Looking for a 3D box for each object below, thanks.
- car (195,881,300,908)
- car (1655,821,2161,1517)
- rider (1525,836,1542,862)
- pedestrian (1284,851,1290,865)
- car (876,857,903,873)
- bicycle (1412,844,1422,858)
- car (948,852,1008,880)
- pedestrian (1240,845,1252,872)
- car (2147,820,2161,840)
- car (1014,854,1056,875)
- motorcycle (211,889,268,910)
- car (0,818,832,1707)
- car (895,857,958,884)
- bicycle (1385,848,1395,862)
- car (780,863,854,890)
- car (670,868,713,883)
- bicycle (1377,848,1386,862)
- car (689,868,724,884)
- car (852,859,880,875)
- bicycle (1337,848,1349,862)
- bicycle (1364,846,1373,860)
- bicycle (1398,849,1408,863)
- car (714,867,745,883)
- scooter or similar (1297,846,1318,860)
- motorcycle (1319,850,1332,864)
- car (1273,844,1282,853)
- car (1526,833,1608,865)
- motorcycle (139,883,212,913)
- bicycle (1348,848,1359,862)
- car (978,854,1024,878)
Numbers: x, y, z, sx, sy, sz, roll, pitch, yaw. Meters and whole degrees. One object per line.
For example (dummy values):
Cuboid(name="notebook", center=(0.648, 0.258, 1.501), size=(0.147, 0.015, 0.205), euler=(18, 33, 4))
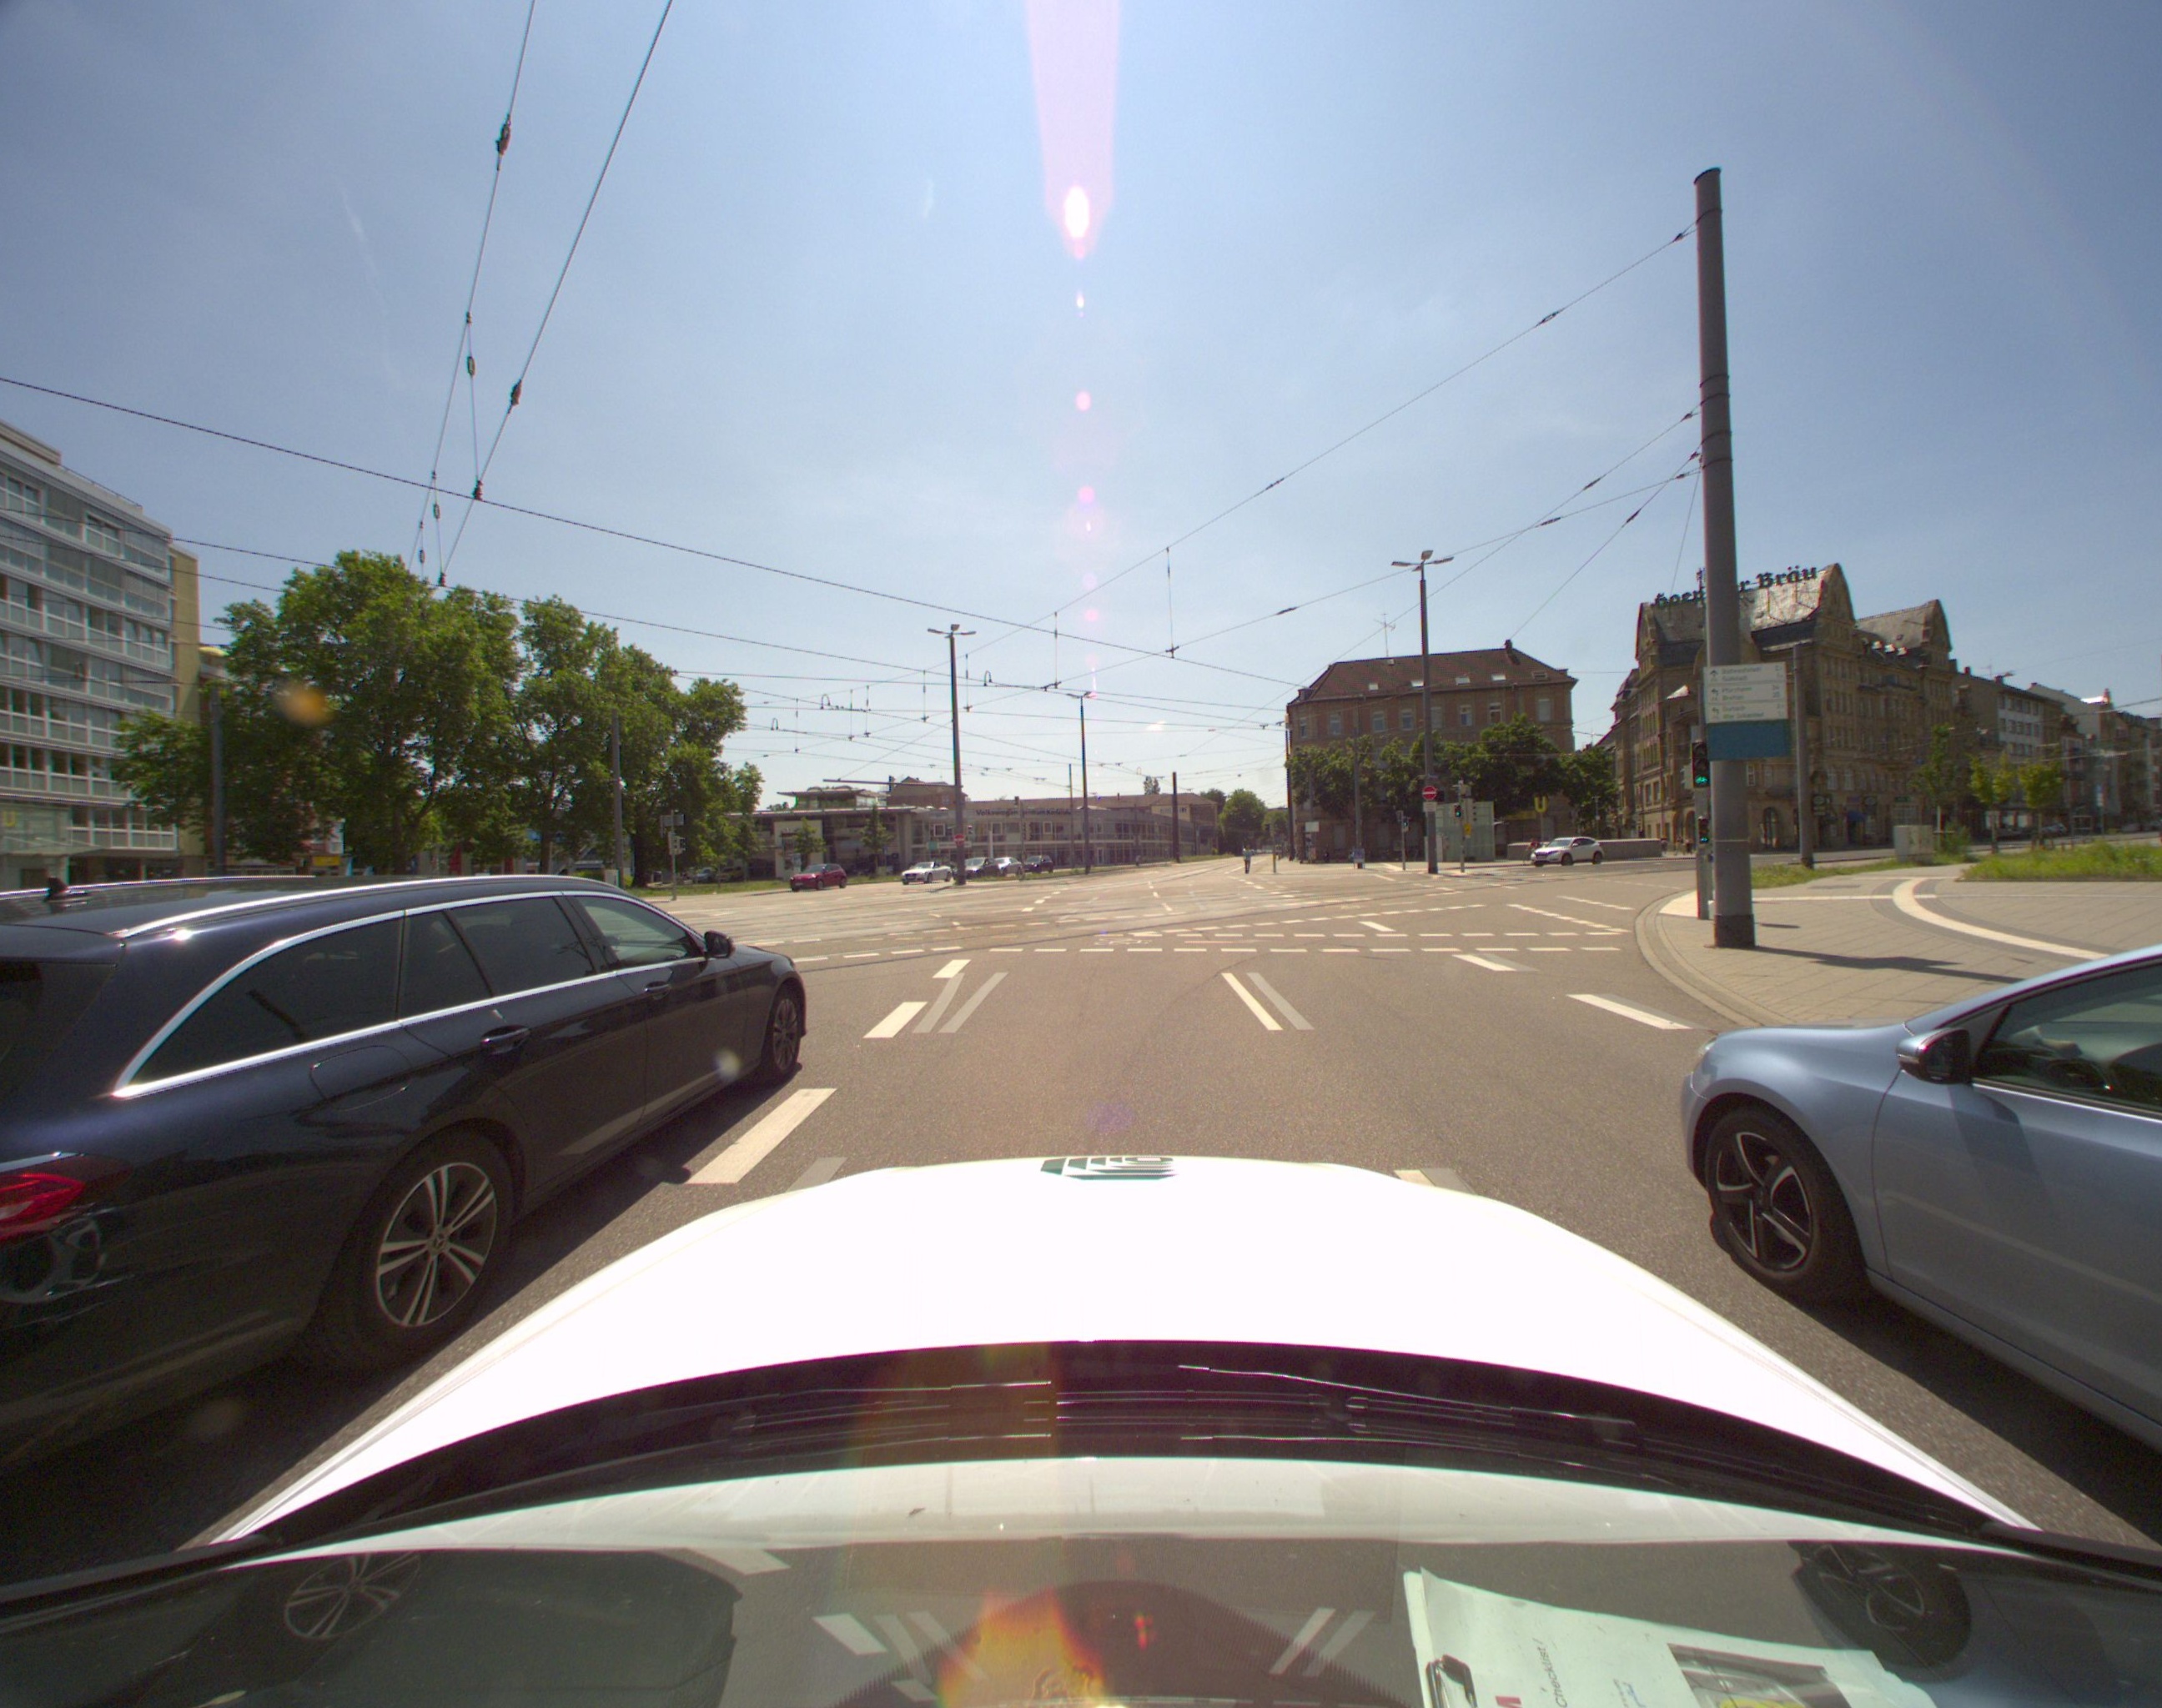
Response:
Cuboid(name="car", center=(-50.931, 2.453, 49.867), size=(4.006, 1.420, 1.984), euler=(-2, 0, -25))
Cuboid(name="car", center=(3.062, 0.654, 1.276), size=(1.644, 1.459, 4.006), euler=(0, 0, 3))
Cuboid(name="rider", center=(28.332, -0.294, 51.015), size=(0.878, 1.601, 0.559), euler=(-2, 0, -32))
Cuboid(name="pedestrian", center=(31.413, 0.618, 124.278), size=(0.762, 2.014, 0.666), euler=(0, -1, 12))
Cuboid(name="car", center=(-20.693, 1.192, 88.137), size=(1.914, 1.707, 4.000), euler=(0, -1, 1))
Cuboid(name="bicycle", center=(27.689, -0.216, 67.156), size=(0.547, 1.120, 1.938), euler=(-2, 0, 16))
Cuboid(name="car", center=(-6.605, 0.757, 52.641), size=(1.978, 1.637, 4.868), euler=(-2, 0, 17))
Cuboid(name="pedestrian", center=(10.561, 0.286, 52.137), size=(0.462, 1.708, 0.636), euler=(-2, 0, -20))
Cuboid(name="car", center=(82.574, -1.836, 61.357), size=(4.008, 1.453, 1.983), euler=(1, -1, -26))
Cuboid(name="car", center=(-3.944, 0.870, 71.293), size=(2.062, 1.682, 4.868), euler=(-2, 0, 17))
Cuboid(name="motorcycle", center=(-42.363, 2.292, 41.029), size=(1.926, 0.961, 0.520), euler=(-2, 0, -30))
Cuboid(name="car", center=(-2.839, 0.766, 3.767), size=(1.791, 1.640, 4.806), euler=(0, 0, 1))
Cuboid(name="car", center=(-9.841, 1.024, 52.294), size=(2.062, 1.580, 4.864), euler=(-2, 0, 13))
Cuboid(name="bicycle", center=(25.370, 0.098, 66.841), size=(0.547, 1.120, 1.897), euler=(-2, 0, 16))
Cuboid(name="car", center=(-15.889, 1.329, 49.378), size=(1.979, 1.465, 4.864), euler=(-2, 0, 13))
Cuboid(name="car", center=(-45.277, 2.453, 94.701), size=(4.345, 1.510, 1.753), euler=(-2, 0, -35))
Cuboid(name="bicycle", center=(24.685, 0.100, 66.898), size=(0.547, 1.120, 1.828), euler=(-2, 0, 16))
Cuboid(name="car", center=(-41.084, 2.407, 89.387), size=(1.761, 1.510, 4.327), euler=(-2, 0, 1))
Cuboid(name="car", center=(-23.197, 1.388, 88.031), size=(1.914, 1.707, 4.000), euler=(0, -1, 1))
Cuboid(name="bicycle", center=(21.715, 0.110, 67.419), size=(0.548, 1.120, 1.823), euler=(-2, 0, 6))
Cuboid(name="bicycle", center=(23.725, -0.086, 67.138), size=(0.547, 1.120, 1.828), euler=(-2, 0, 16))
Cuboid(name="bicycle", center=(26.573, 0.119, 67.221), size=(0.547, 1.120, 1.878), euler=(-2, 0, 16))
Cuboid(name="car", center=(-38.426, 2.269, 89.089), size=(1.764, 1.510, 4.319), euler=(-2, 0, -5))
Cuboid(name="scooter or similar", center=(19.534, -0.074, 70.270), size=(1.797, 1.181, 0.594), euler=(-2, 0, -29))
Cuboid(name="motorcycle", center=(20.321, 0.248, 67.606), size=(0.577, 1.074, 1.948), euler=(-2, 0, 4))
Cuboid(name="car", center=(47.135, -1.258, 194.983), size=(1.979, 2.181, 4.386), euler=(0, -1, 15))
Cuboid(name="car", center=(26.312, -0.274, 44.049), size=(4.199, 1.605, 1.681), euler=(-2, 0, -24))
Cuboid(name="motorcycle", center=(-40.692, 1.965, 36.599), size=(2.782, 1.222, 0.969), euler=(-2, 0, 14))
Cuboid(name="bicycle", center=(22.580, 0.096, 67.443), size=(0.440, 1.146, 2.097), euler=(0, -1, 7))
Cuboid(name="car", center=(-6.282, 0.937, 64.412), size=(1.978, 1.739, 4.563), euler=(-2, 0, 17))
